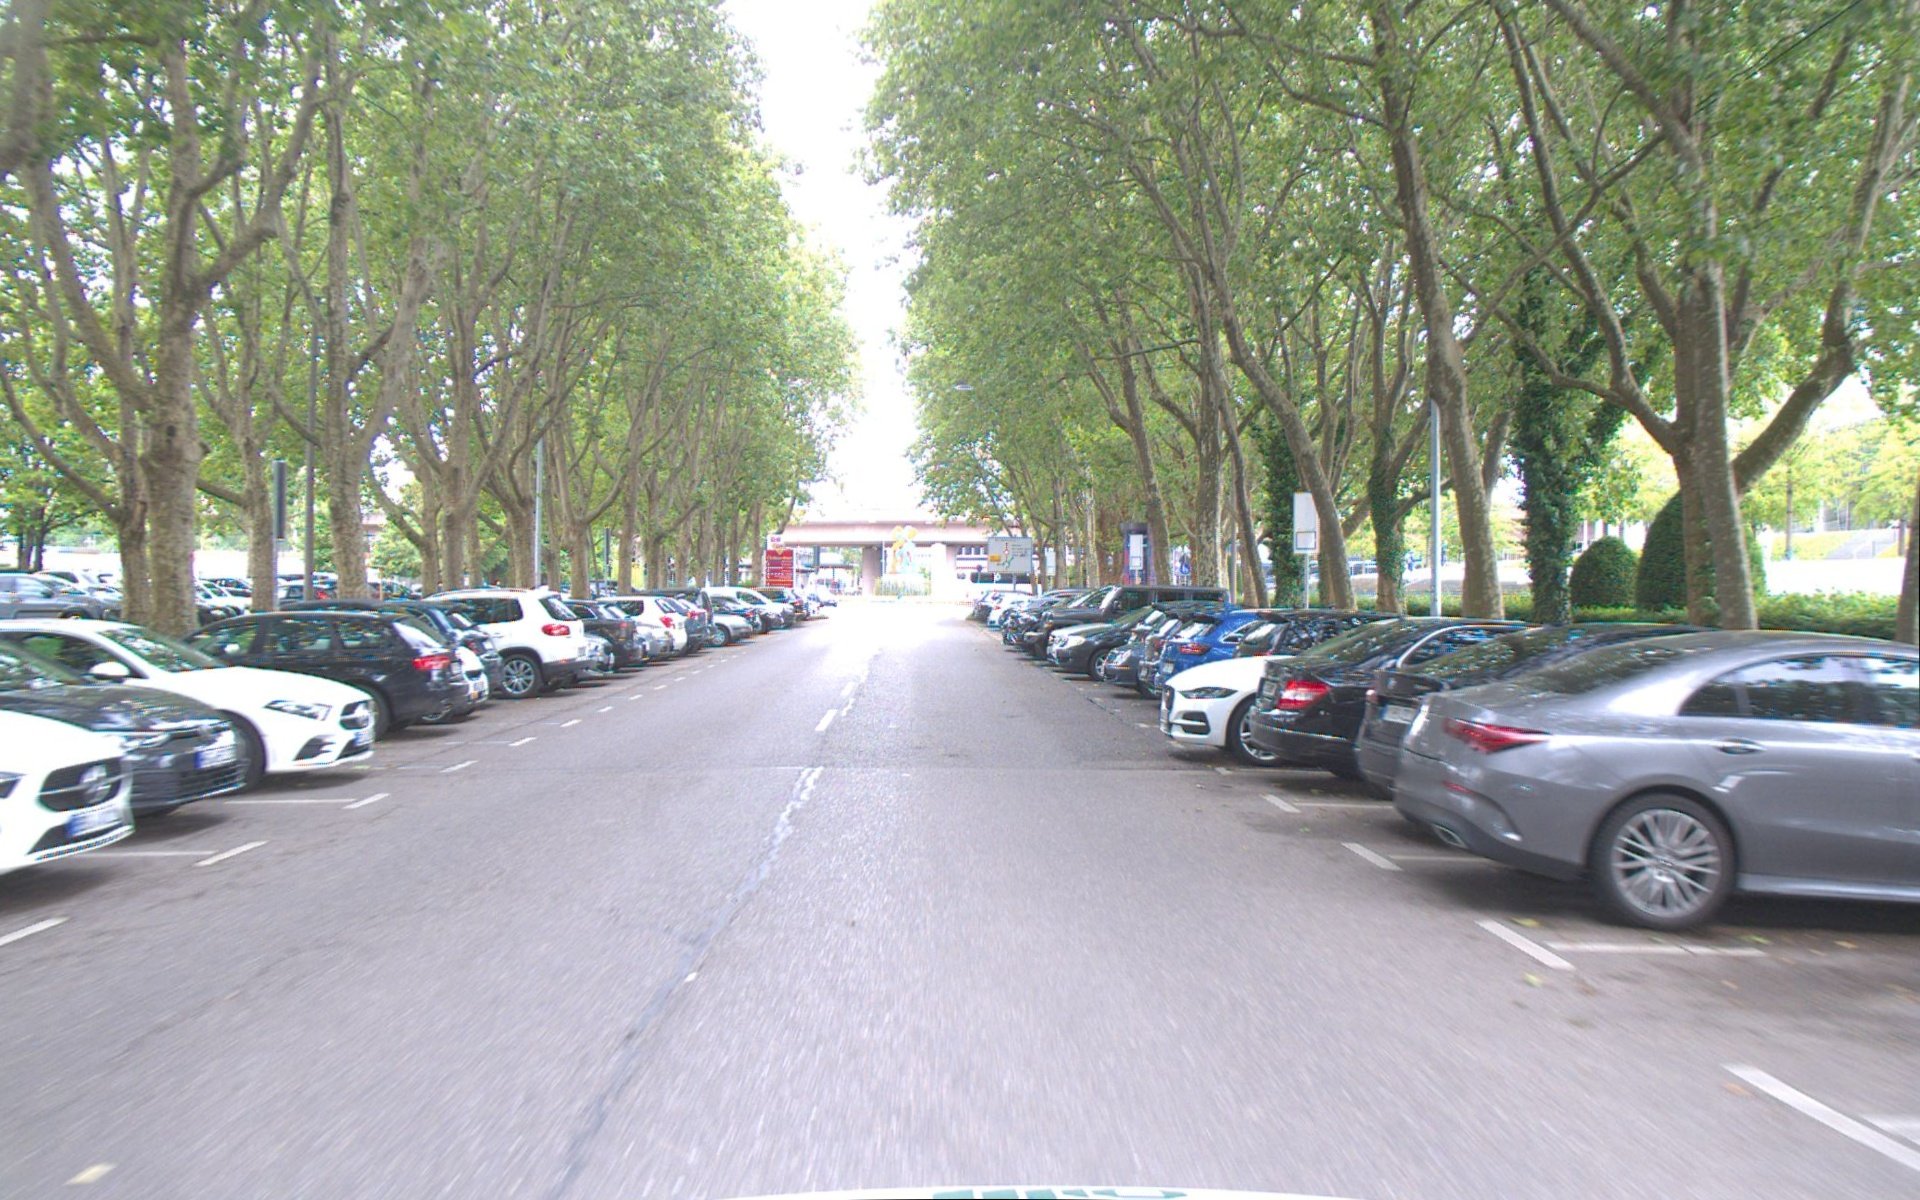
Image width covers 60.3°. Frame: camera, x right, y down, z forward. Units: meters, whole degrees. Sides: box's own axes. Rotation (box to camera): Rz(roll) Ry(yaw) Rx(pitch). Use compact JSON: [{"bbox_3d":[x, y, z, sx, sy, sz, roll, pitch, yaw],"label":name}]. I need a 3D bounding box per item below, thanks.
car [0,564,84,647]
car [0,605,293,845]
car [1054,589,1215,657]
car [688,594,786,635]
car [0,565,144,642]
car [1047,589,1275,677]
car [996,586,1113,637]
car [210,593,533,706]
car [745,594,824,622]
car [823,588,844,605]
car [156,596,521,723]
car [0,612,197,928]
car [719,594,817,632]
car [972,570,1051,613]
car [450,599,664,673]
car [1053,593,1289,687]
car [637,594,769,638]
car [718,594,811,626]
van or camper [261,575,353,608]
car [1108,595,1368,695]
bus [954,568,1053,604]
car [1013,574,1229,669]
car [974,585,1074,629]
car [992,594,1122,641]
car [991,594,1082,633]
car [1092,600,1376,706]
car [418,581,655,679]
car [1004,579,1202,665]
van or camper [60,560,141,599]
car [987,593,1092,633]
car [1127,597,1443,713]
[{"bbox_3d":[-22.964,0.085,37.628,4.844,1.828,2.181,1,0,-4],"label":"car"},{"bbox_3d":[-7.037,0.817,11.139,4.318,1.442,1.783,-1,0,-1],"label":"car"},{"bbox_3d":[5.187,0.676,49.495,4.411,1.828,2.044,2,1,-8],"label":"car"},{"bbox_3d":[-8.909,0.569,65.895,3.716,1.497,1.759,-2,0,-12],"label":"car"},{"bbox_3d":[-22.910,0.070,40.399,4.844,1.828,2.181,0,0,-4],"label":"car"},{"bbox_3d":[4.035,0.649,33.791,4.402,1.599,2.048,2,1,1],"label":"car"},{"bbox_3d":[3.618,0.424,63.711,4.260,1.776,1.836,2,1,-3],"label":"car"},{"bbox_3d":[-8.290,0.683,23.573,3.906,1.478,1.855,1,0,-1],"label":"car"},{"bbox_3d":[-9.394,0.405,88.738,3.911,1.409,1.912,1,0,2],"label":"car"},{"bbox_3d":[-11.656,-0.289,152.717,1.805,1.536,4.013,1,0,-3],"label":"car"},{"bbox_3d":[-7.802,0.726,21.039,3.906,1.478,1.855,1,0,-1],"label":"car"},{"bbox_3d":[-6.538,0.852,8.541,4.320,1.449,1.775,-1,0,-3],"label":"car"},{"bbox_3d":[-8.511,0.554,73.565,4.044,1.477,2.013,-2,0,0],"label":"car"},{"bbox_3d":[2.622,-0.438,85.245,3.906,2.049,2.000,2,1,-1],"label":"car"},{"bbox_3d":[-8.129,0.720,33.647,3.907,1.393,1.843,1,0,-3],"label":"car"},{"bbox_3d":[3.904,0.729,30.999,4.111,1.545,1.784,3,0,-2],"label":"car"},{"bbox_3d":[-9.054,0.557,58.493,4.373,1.393,1.879,-1,0,-2],"label":"car"},{"bbox_3d":[-8.960,0.448,75.976,4.106,1.378,1.966,1,0,-4],"label":"car"},{"bbox_3d":[-36.432,-0.481,92.325,4.234,1.739,2.131,1,0,-3],"label":"van or camper"},{"bbox_3d":[4.757,0.761,28.642,4.114,1.545,1.783,2,1,-5],"label":"car"},{"bbox_3d":[4.330,-1.321,161.705,9.872,3.458,2.319,0,0,-28],"label":"bus"},{"bbox_3d":[3.481,0.451,36.323,4.408,1.899,2.045,2,1,-5],"label":"car"},{"bbox_3d":[2.828,0.302,73.886,4.260,1.791,1.924,2,0,-3],"label":"car"},{"bbox_3d":[3.253,0.587,56.179,4.258,1.438,1.925,2,1,-1],"label":"car"},{"bbox_3d":[3.162,0.555,68.909,3.568,1.451,1.664,2,1,-5],"label":"car"},{"bbox_3d":[4.289,0.814,26.262,4.114,1.481,1.783,2,1,-5],"label":"car"},{"bbox_3d":[-7.836,0.549,30.867,3.906,1.711,1.855,1,0,-1],"label":"car"},{"bbox_3d":[3.309,0.495,38.963,4.405,1.828,2.047,2,1,-2],"label":"car"},{"bbox_3d":[-48.308,-1.130,93.096,1.953,2.049,5.300,1,0,-2],"label":"van or camper"},{"bbox_3d":[3.161,0.513,66.232,4.064,1.483,1.727,2,0,-1],"label":"car"},{"bbox_3d":[4.628,0.773,23.894,4.114,1.481,1.783,2,1,-5],"label":"car"}]
